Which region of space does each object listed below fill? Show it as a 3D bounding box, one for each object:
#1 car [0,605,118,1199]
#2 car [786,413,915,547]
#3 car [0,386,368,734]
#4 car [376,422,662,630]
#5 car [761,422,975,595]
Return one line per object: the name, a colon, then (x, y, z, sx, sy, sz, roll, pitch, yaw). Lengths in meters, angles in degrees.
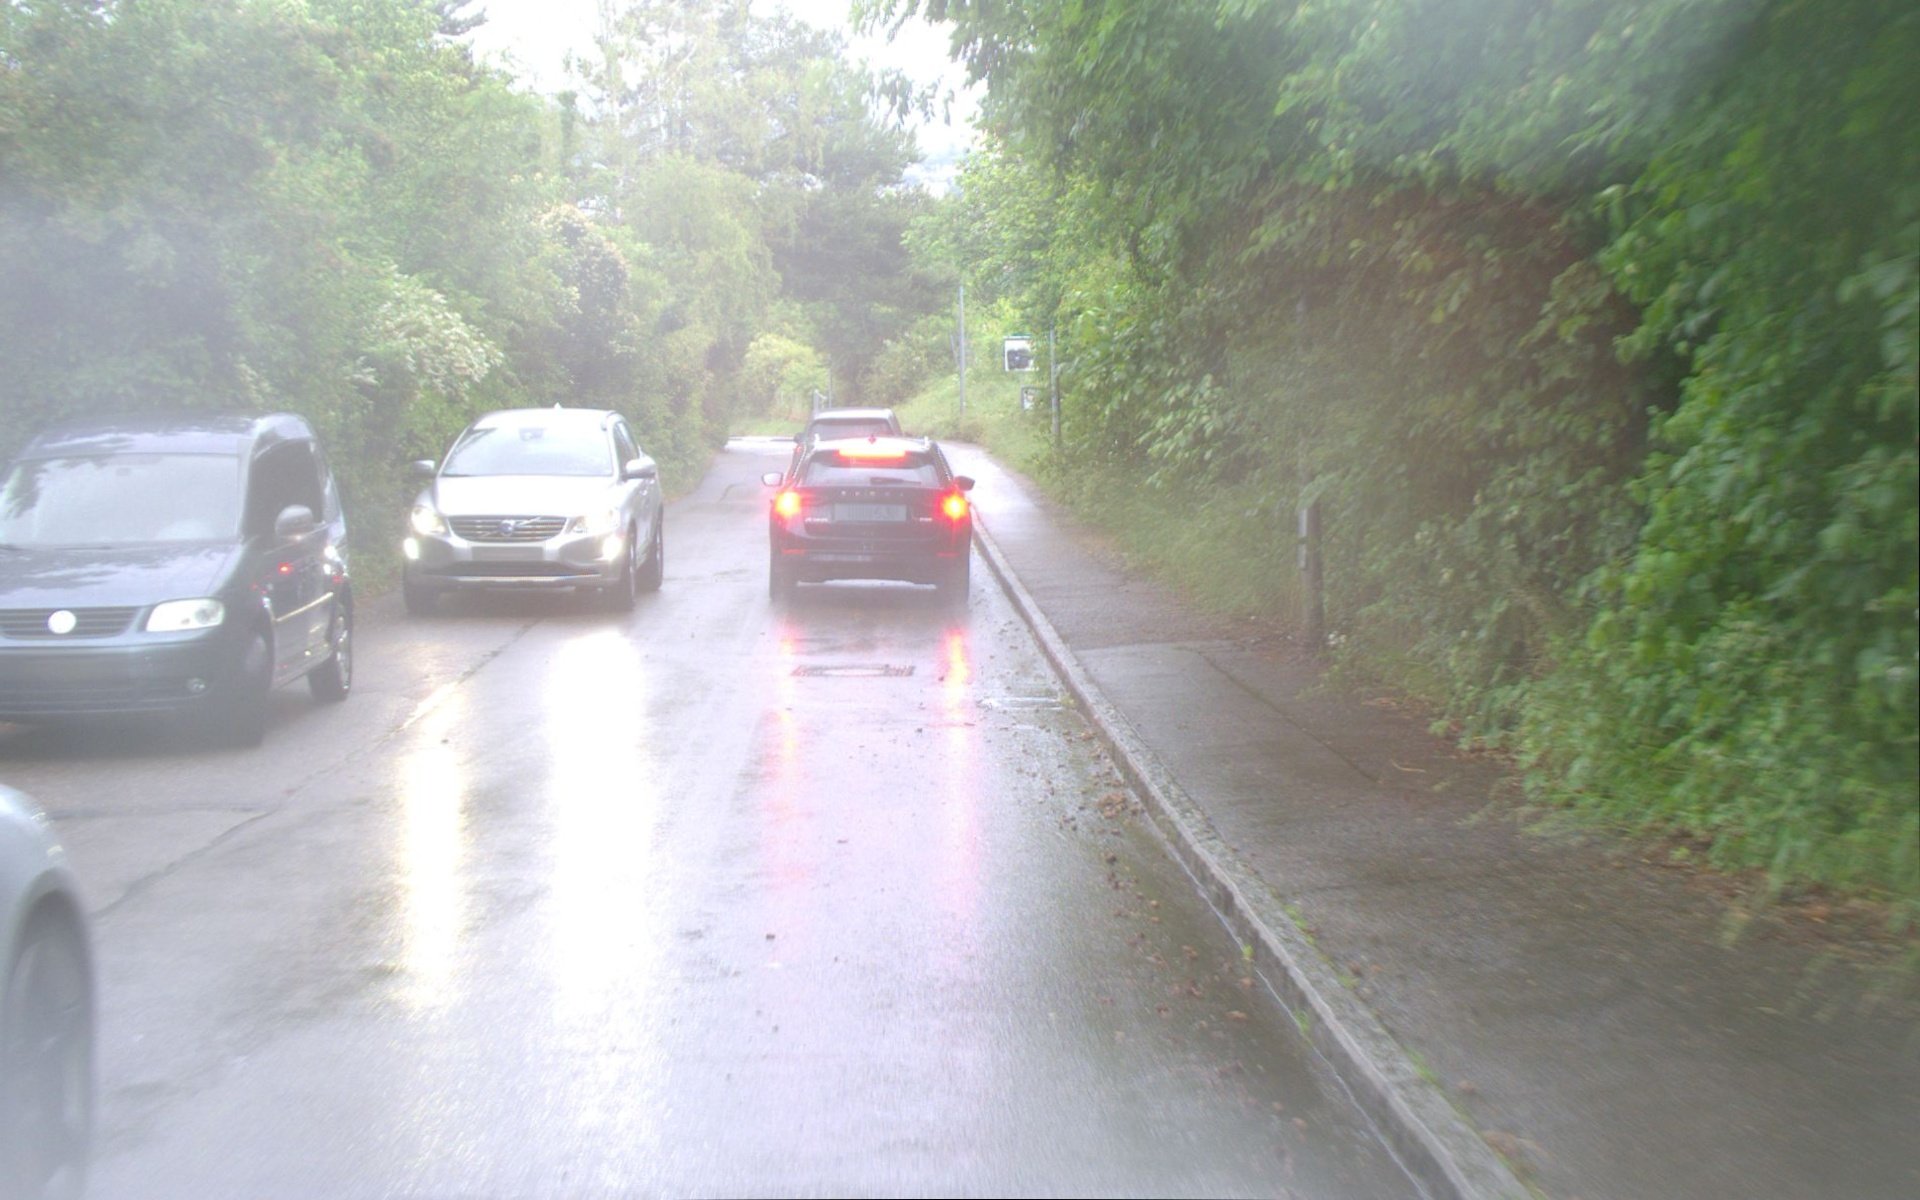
car: (-2.906, 0.741, 5.508, 1.941, 1.517, 4.578, -1, -2, 1)
car: (-1.673, -1.778, 52.069, 1.863, 1.737, 4.000, 0, -2, -2)
car: (-4.620, -0.296, 19.821, 1.689, 1.776, 4.233, -1, 3, -1)
car: (-3.741, -0.703, 29.865, 2.048, 1.595, 4.230, 2, 3, -2)
car: (-0.888, -0.848, 30.967, 1.699, 1.445, 4.001, -1, 2, -5)
